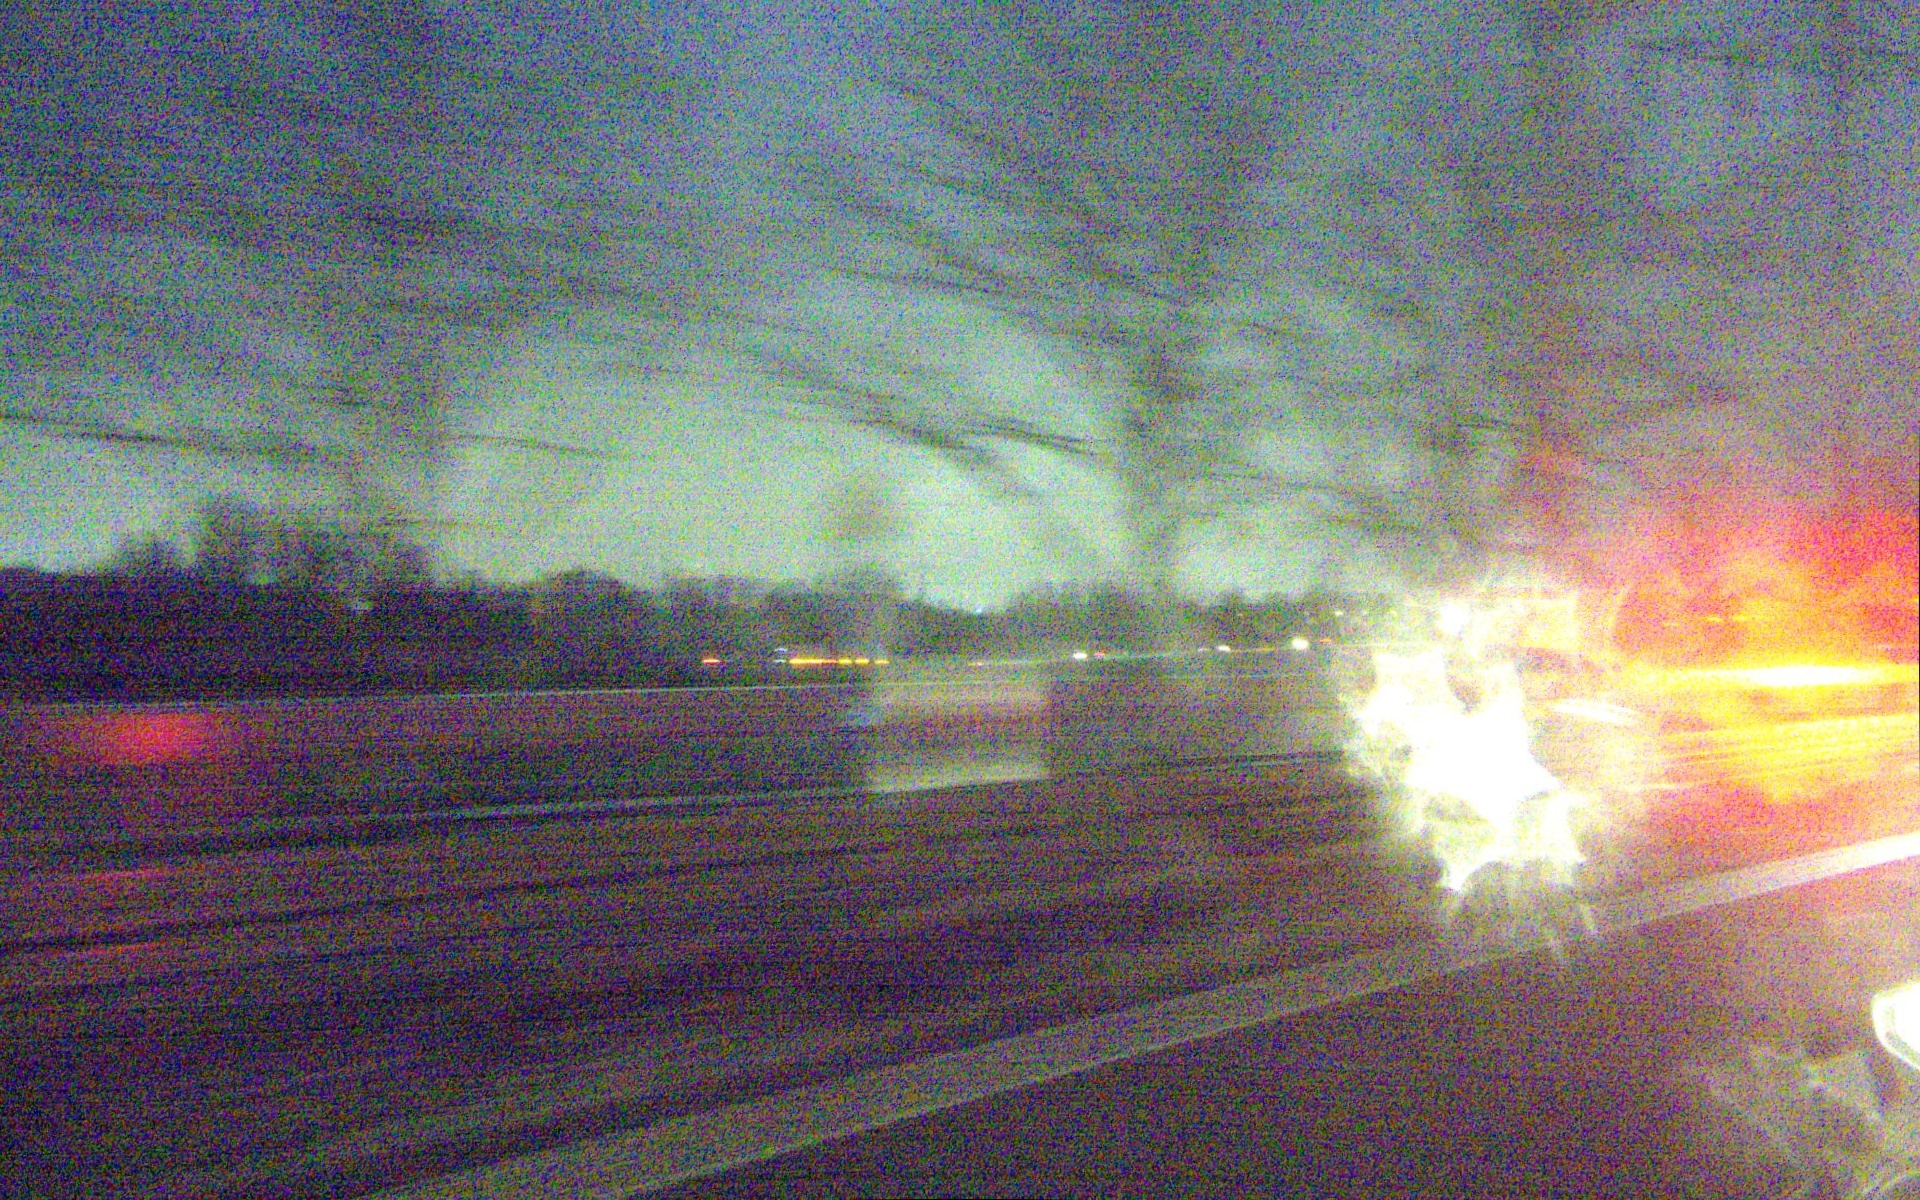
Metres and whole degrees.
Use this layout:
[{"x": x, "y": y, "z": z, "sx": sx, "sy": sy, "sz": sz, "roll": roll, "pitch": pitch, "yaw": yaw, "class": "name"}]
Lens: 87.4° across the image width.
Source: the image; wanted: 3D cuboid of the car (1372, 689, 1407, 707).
[{"x": 38.229, "y": 8.720, "z": 89.407, "sx": 1.710, "sy": 1.444, "sz": 4.104, "roll": 1, "pitch": -3, "yaw": 6, "class": "car"}]
